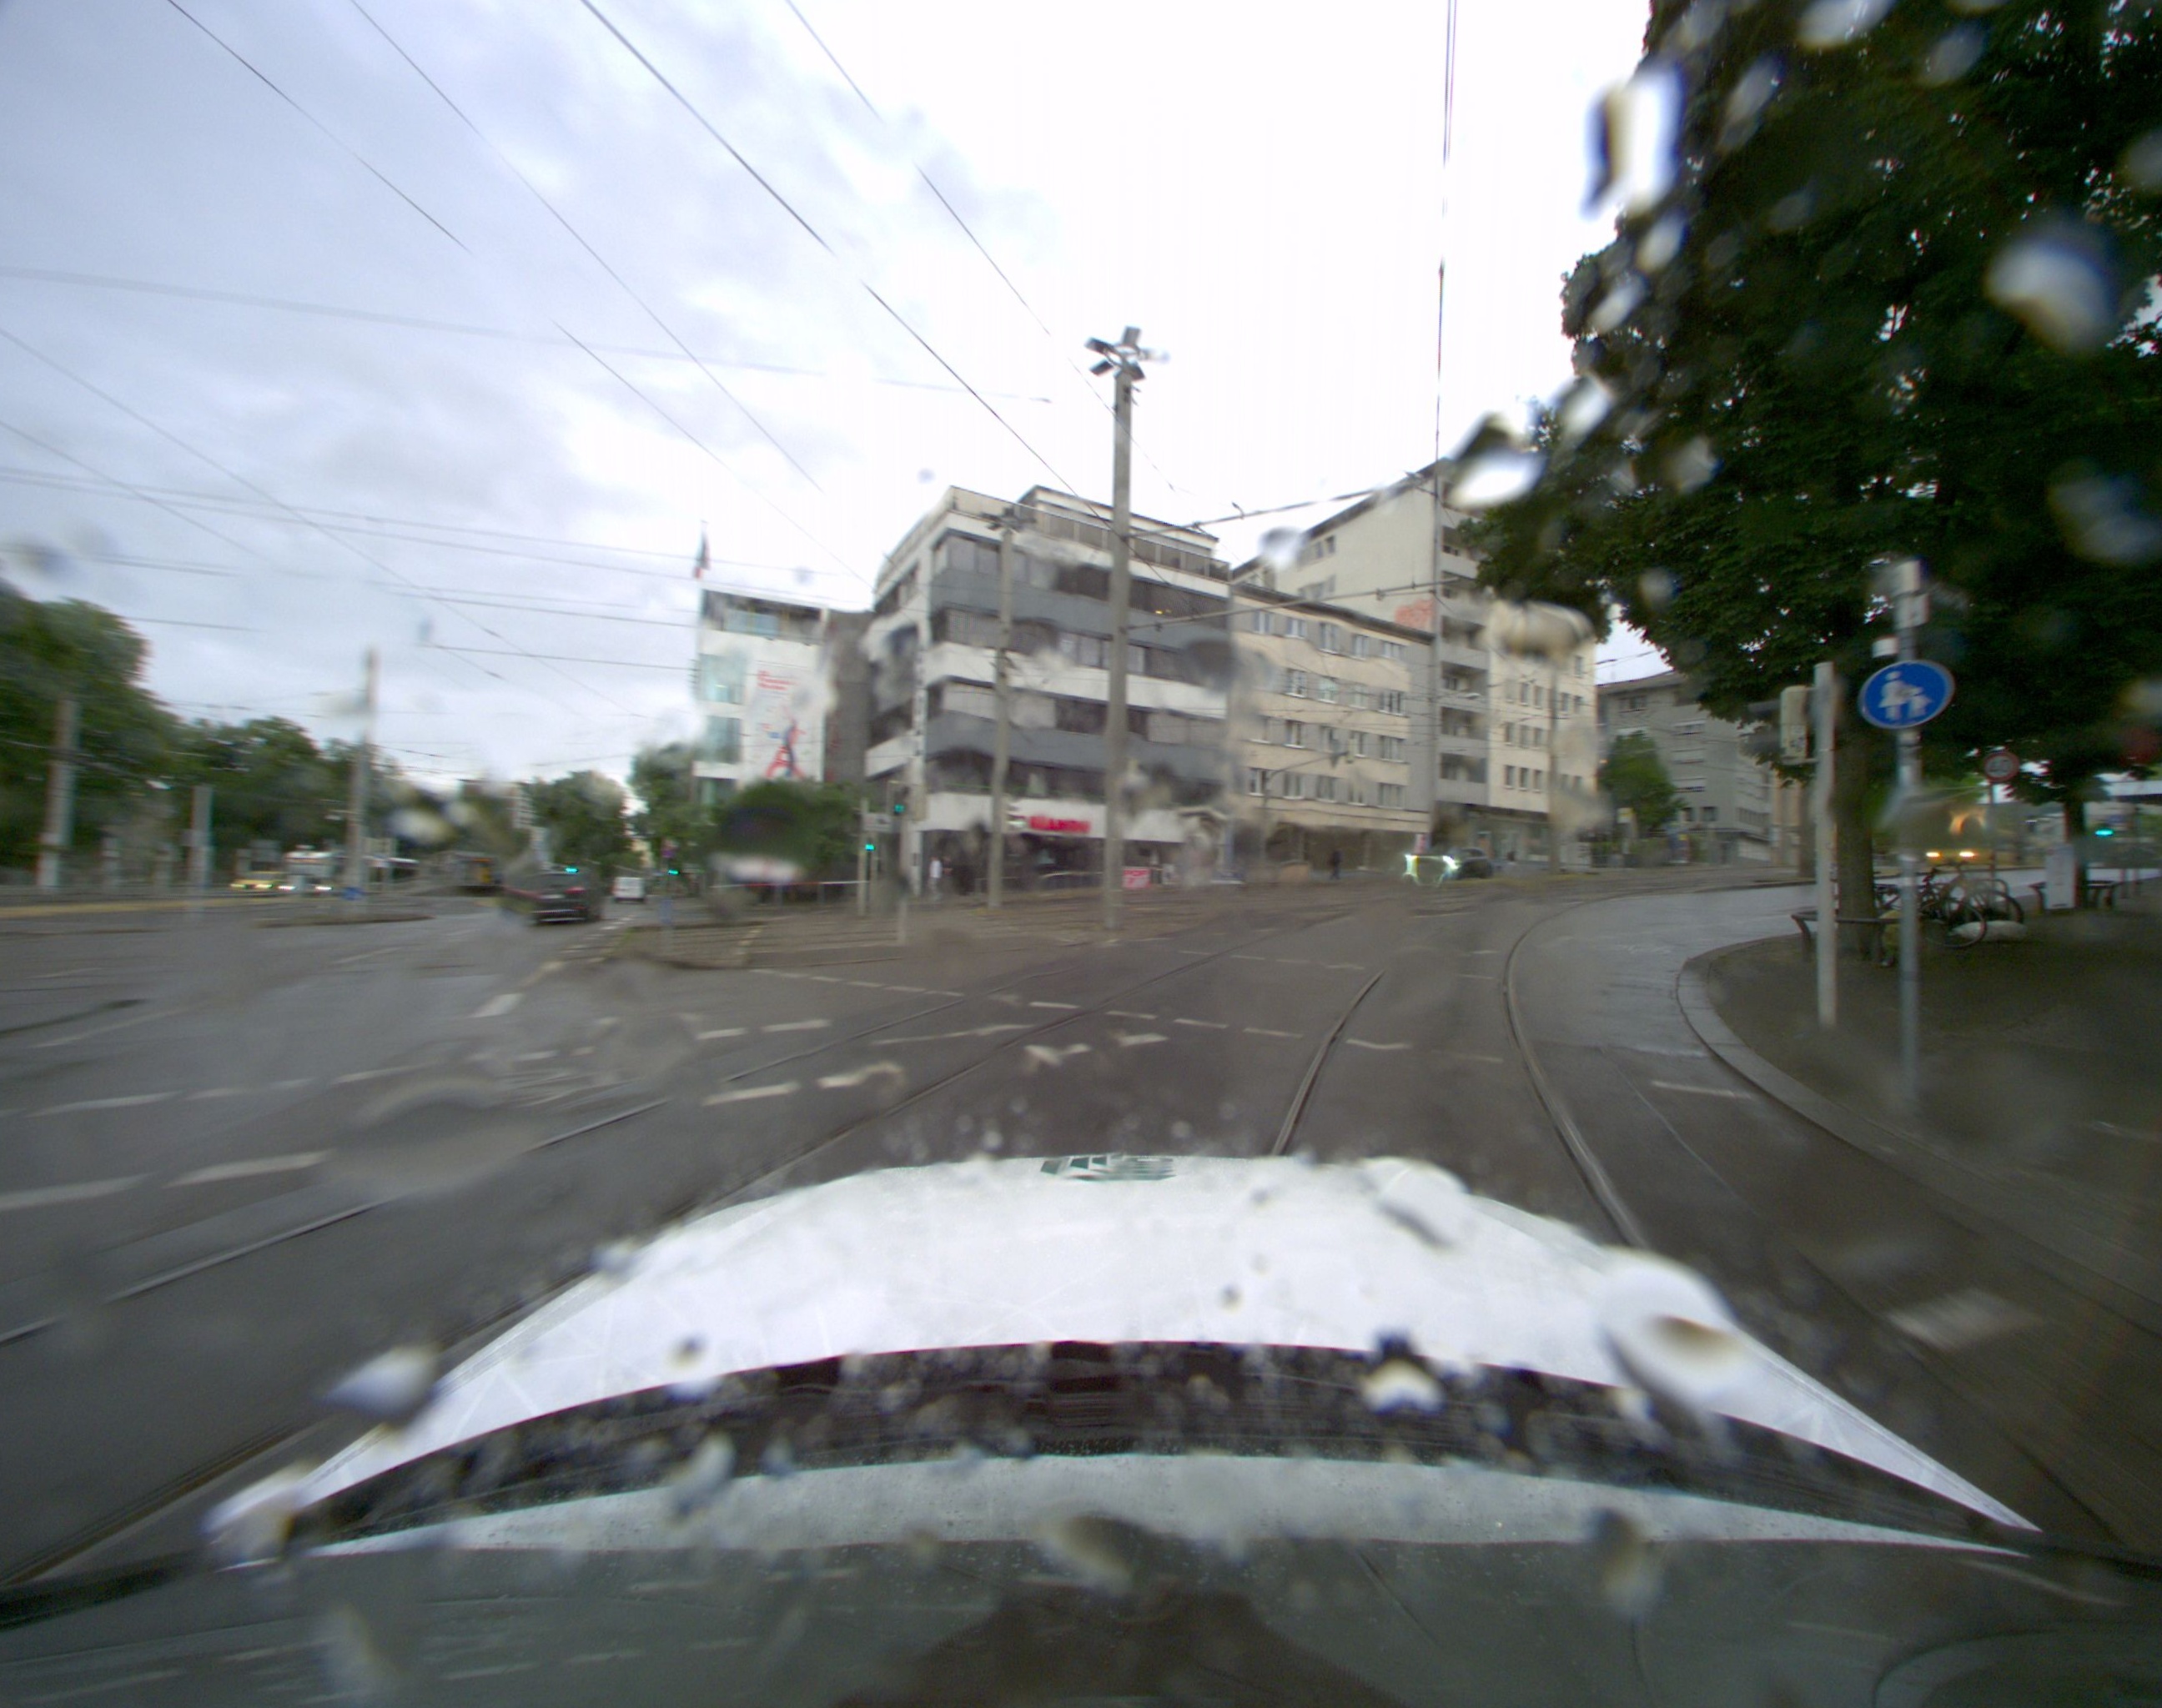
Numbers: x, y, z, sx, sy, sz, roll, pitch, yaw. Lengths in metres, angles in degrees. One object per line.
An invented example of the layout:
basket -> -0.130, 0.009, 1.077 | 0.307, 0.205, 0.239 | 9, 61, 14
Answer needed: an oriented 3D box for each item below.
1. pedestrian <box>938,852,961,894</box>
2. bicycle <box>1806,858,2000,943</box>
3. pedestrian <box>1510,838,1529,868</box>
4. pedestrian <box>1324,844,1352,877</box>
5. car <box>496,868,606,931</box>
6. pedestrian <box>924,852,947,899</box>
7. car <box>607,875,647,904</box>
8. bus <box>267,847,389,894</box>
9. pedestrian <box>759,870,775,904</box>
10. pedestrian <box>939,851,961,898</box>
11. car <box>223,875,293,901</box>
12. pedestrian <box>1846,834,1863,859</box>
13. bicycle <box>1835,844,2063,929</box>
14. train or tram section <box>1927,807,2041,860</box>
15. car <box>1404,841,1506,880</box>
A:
pedestrian -> -5.590, 0.805, 34.702 | 0.711, 1.762, 0.701 | 0, -1, 19
bicycle -> 11.595, 0.619, 11.561 | 0.650, 1.092, 1.807 | -2, 0, -25
pedestrian -> 26.317, -0.066, 48.873 | 0.912, 1.738, 0.592 | -1, -1, -31
pedestrian -> 13.144, 0.341, 41.660 | 1.001, 1.681, 0.882 | -1, -1, -29
car -> -15.144, 1.235, 23.501 | 2.046, 1.584, 4.355 | 2, -1, -26
pedestrian -> -5.953, 0.878, 33.303 | 0.712, 1.914, 0.700 | 0, -1, 12
car -> -32.116, 2.487, 57.703 | 2.045, 1.840, 4.357 | 2, -1, -24
bus -> -57.545, 1.214, 62.753 | 3.092, 3.301, 12.420 | 0, -1, -25
pedestrian -> -14.308, 1.502, 37.113 | 0.541, 1.563, 0.520 | 0, -1, -6
pedestrian -> -5.459, 0.850, 33.961 | 0.712, 1.914, 0.700 | 0, -1, 12
car -> -58.552, 2.391, 58.023 | 2.003, 1.646, 4.499 | 0, -1, -25
pedestrian -> 57.905, -0.564, 60.943 | 0.699, 1.790, 0.727 | -1, -1, -31
bicycle -> 13.238, 0.467, 12.533 | 0.650, 1.174, 2.304 | 0, -1, -25
train or tram section -> 72.314, -1.412, 64.950 | 19.033, 3.697, 2.727 | 1, -1, -32
car -> 17.350, 0.301, 37.771 | 4.540, 1.673, 1.981 | -1, -1, -29
